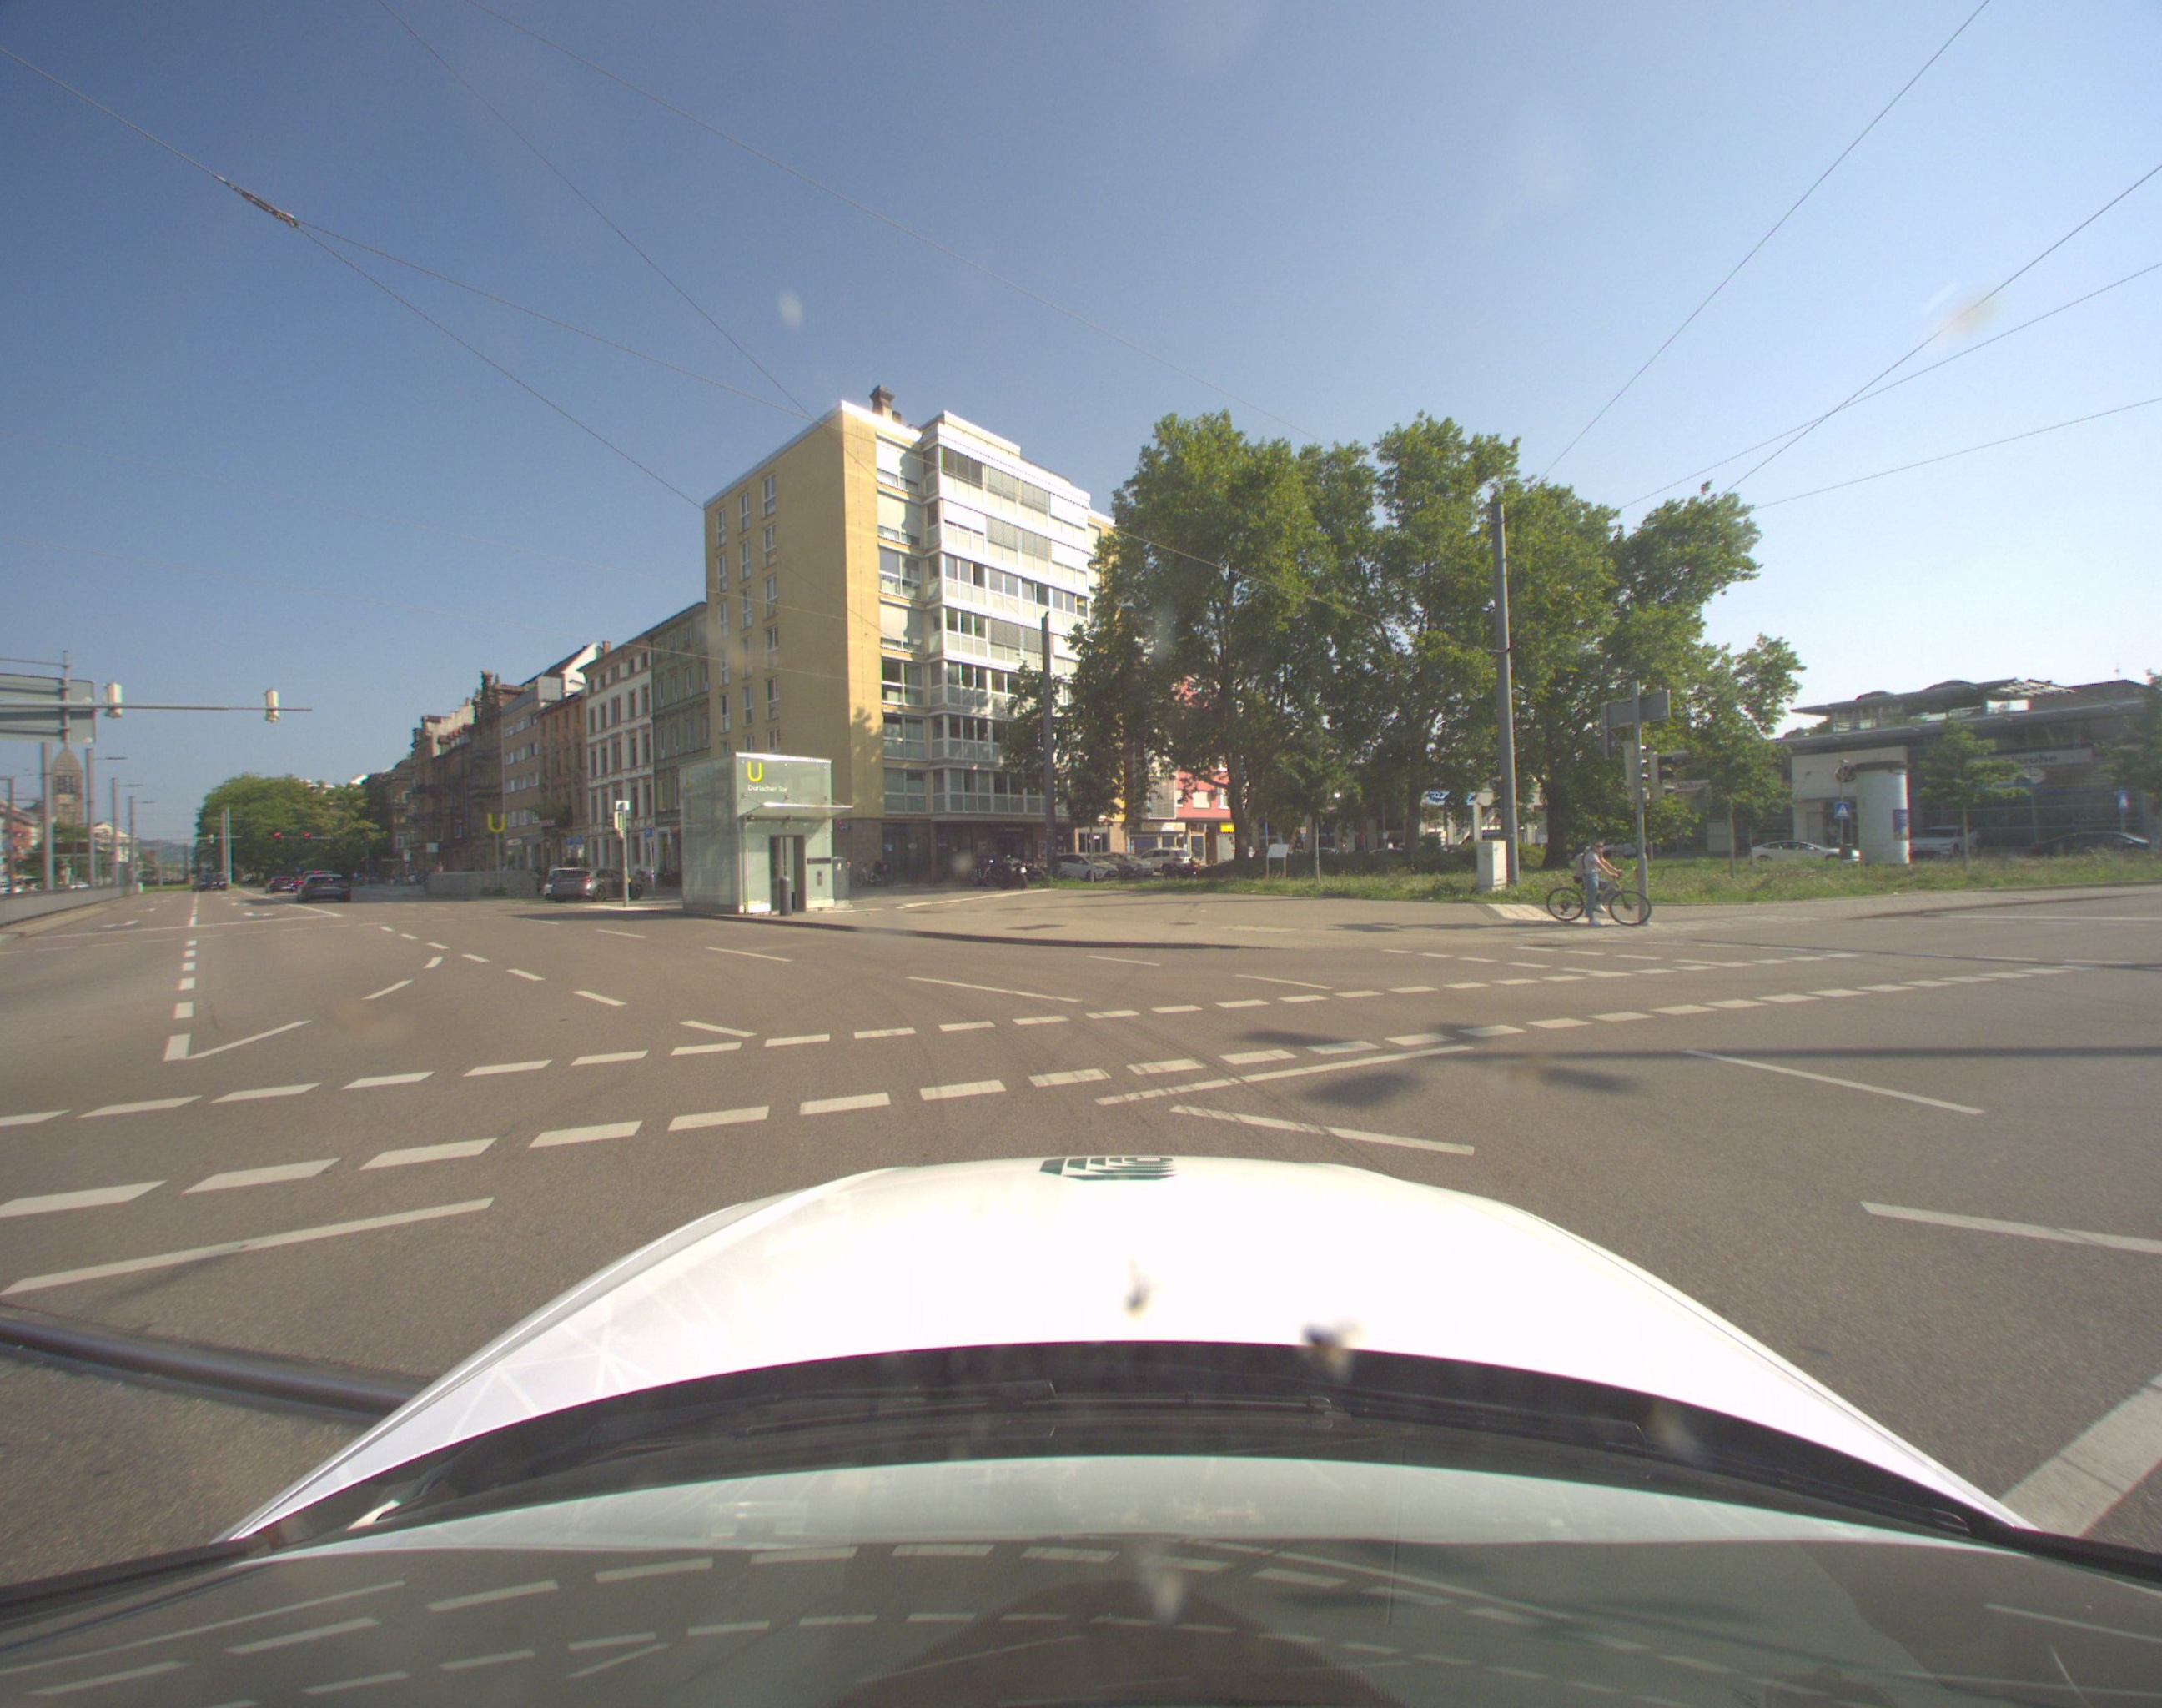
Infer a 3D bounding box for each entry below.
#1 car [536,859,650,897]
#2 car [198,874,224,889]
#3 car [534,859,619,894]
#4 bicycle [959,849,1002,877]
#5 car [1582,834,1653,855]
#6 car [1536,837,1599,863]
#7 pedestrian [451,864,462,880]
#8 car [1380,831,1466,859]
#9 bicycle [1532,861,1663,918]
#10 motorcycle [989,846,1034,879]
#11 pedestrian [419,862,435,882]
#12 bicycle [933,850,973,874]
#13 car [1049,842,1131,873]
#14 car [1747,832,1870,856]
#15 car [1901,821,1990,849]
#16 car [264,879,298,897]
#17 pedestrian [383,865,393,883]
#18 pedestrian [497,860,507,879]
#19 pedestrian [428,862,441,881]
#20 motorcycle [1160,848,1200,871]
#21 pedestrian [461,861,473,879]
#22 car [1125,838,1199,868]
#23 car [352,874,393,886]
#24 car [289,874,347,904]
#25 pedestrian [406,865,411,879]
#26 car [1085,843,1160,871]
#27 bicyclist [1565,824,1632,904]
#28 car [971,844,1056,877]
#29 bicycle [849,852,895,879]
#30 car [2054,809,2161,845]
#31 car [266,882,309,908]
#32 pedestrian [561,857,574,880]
[{"bbox_3d":[-20.440,0.942,34.353,1.833,1.423,4.414,-2,0,4],"label":"car"},{"bbox_3d":[-94.124,2.951,88.092,3.824,1.526,1.757,-1,1,42],"label":"car"},{"bbox_3d":[-23.196,0.997,37.581,1.612,1.464,3.529,-2,0,1],"label":"car"},{"bbox_3d":[-4.670,0.428,37.745,2.271,1.235,0.528,-1,0,38],"label":"bicycle"},{"bbox_3d":[40.039,-0.708,60.839,4.040,1.462,1.997,-1,0,-4],"label":"car"},{"bbox_3d":[39.140,-0.312,65.648,1.947,2.013,3.972,-1,1,-21],"label":"car"},{"bbox_3d":[-62.796,1.788,81.857,0.845,1.610,0.727,-2,0,44],"label":"pedestrian"},{"bbox_3d":[19.006,-0.490,45.367,3.949,1.376,2.012,-1,0,42],"label":"car"},{"bbox_3d":[9.587,0.626,15.228,0.569,0.893,2.057,-1,3,-28],"label":"bicycle"},{"bbox_3d":[-2.576,0.322,30.000,0.708,1.147,2.278,-2,0,-31],"label":"motorcycle"},{"bbox_3d":[-59.456,1.621,74.075,0.790,1.831,0.934,-2,0,39],"label":"pedestrian"},{"bbox_3d":[-6.647,0.414,42.400,0.662,1.183,2.036,-1,1,43],"label":"bicycle"},{"bbox_3d":[0.449,0.196,42.421,3.950,1.507,2.012,-1,1,44],"label":"car"},{"bbox_3d":[37.846,-0.495,42.474,2.006,1.165,4.355,-2,1,-31],"label":"car"},{"bbox_3d":[47.895,-1.039,45.132,4.328,1.462,1.985,-2,1,-23],"label":"car"},{"bbox_3d":[-69.168,2.917,70.416,4.302,1.424,1.881,-1,-1,43],"label":"car"},{"bbox_3d":[-67.141,1.901,78.902,0.736,1.729,0.570,-2,0,39],"label":"pedestrian"},{"bbox_3d":[-55.612,1.480,78.217,0.733,1.831,0.609,-2,0,39],"label":"pedestrian"},{"bbox_3d":[-60.826,1.677,76.589,0.790,1.729,0.757,-2,0,39],"label":"pedestrian"},{"bbox_3d":[4.466,0.237,36.748,0.708,1.001,1.937,-2,0,-31],"label":"motorcycle"},{"bbox_3d":[-62.181,1.664,82.474,0.845,1.787,0.727,-2,0,44],"label":"pedestrian"},{"bbox_3d":[4.808,-0.040,48.519,3.950,1.644,2.012,-1,1,44],"label":"car"},{"bbox_3d":[-103.030,3.727,118.501,1.974,1.563,4.221,-2,0,38],"label":"car"},{"bbox_3d":[-39.458,1.789,42.071,4.302,1.424,1.881,-1,-1,43],"label":"car"},{"bbox_3d":[-63.954,1.721,77.434,0.442,1.274,0.278,-2,0,36],"label":"pedestrian"},{"bbox_3d":[2.390,0.175,47.086,3.950,1.507,2.012,-1,1,44],"label":"car"},{"bbox_3d":[9.624,0.169,15.159,0.733,1.426,0.812,-1,1,-29],"label":"bicyclist"},{"bbox_3d":[-3.237,0.330,38.561,4.141,1.441,1.672,-1,1,44],"label":"car"},{"bbox_3d":[-9.823,0.529,38.419,0.662,1.206,2.036,-1,1,43],"label":"bicycle"},{"bbox_3d":[42.422,-1.093,32.397,2.002,1.370,4.366,-2,1,-22],"label":"car"},{"bbox_3d":[-53.154,2.730,54.559,4.302,1.621,1.849,-1,-1,43],"label":"car"},{"bbox_3d":[-36.946,1.041,58.598,0.728,1.629,0.614,-2,0,43],"label":"pedestrian"}]
